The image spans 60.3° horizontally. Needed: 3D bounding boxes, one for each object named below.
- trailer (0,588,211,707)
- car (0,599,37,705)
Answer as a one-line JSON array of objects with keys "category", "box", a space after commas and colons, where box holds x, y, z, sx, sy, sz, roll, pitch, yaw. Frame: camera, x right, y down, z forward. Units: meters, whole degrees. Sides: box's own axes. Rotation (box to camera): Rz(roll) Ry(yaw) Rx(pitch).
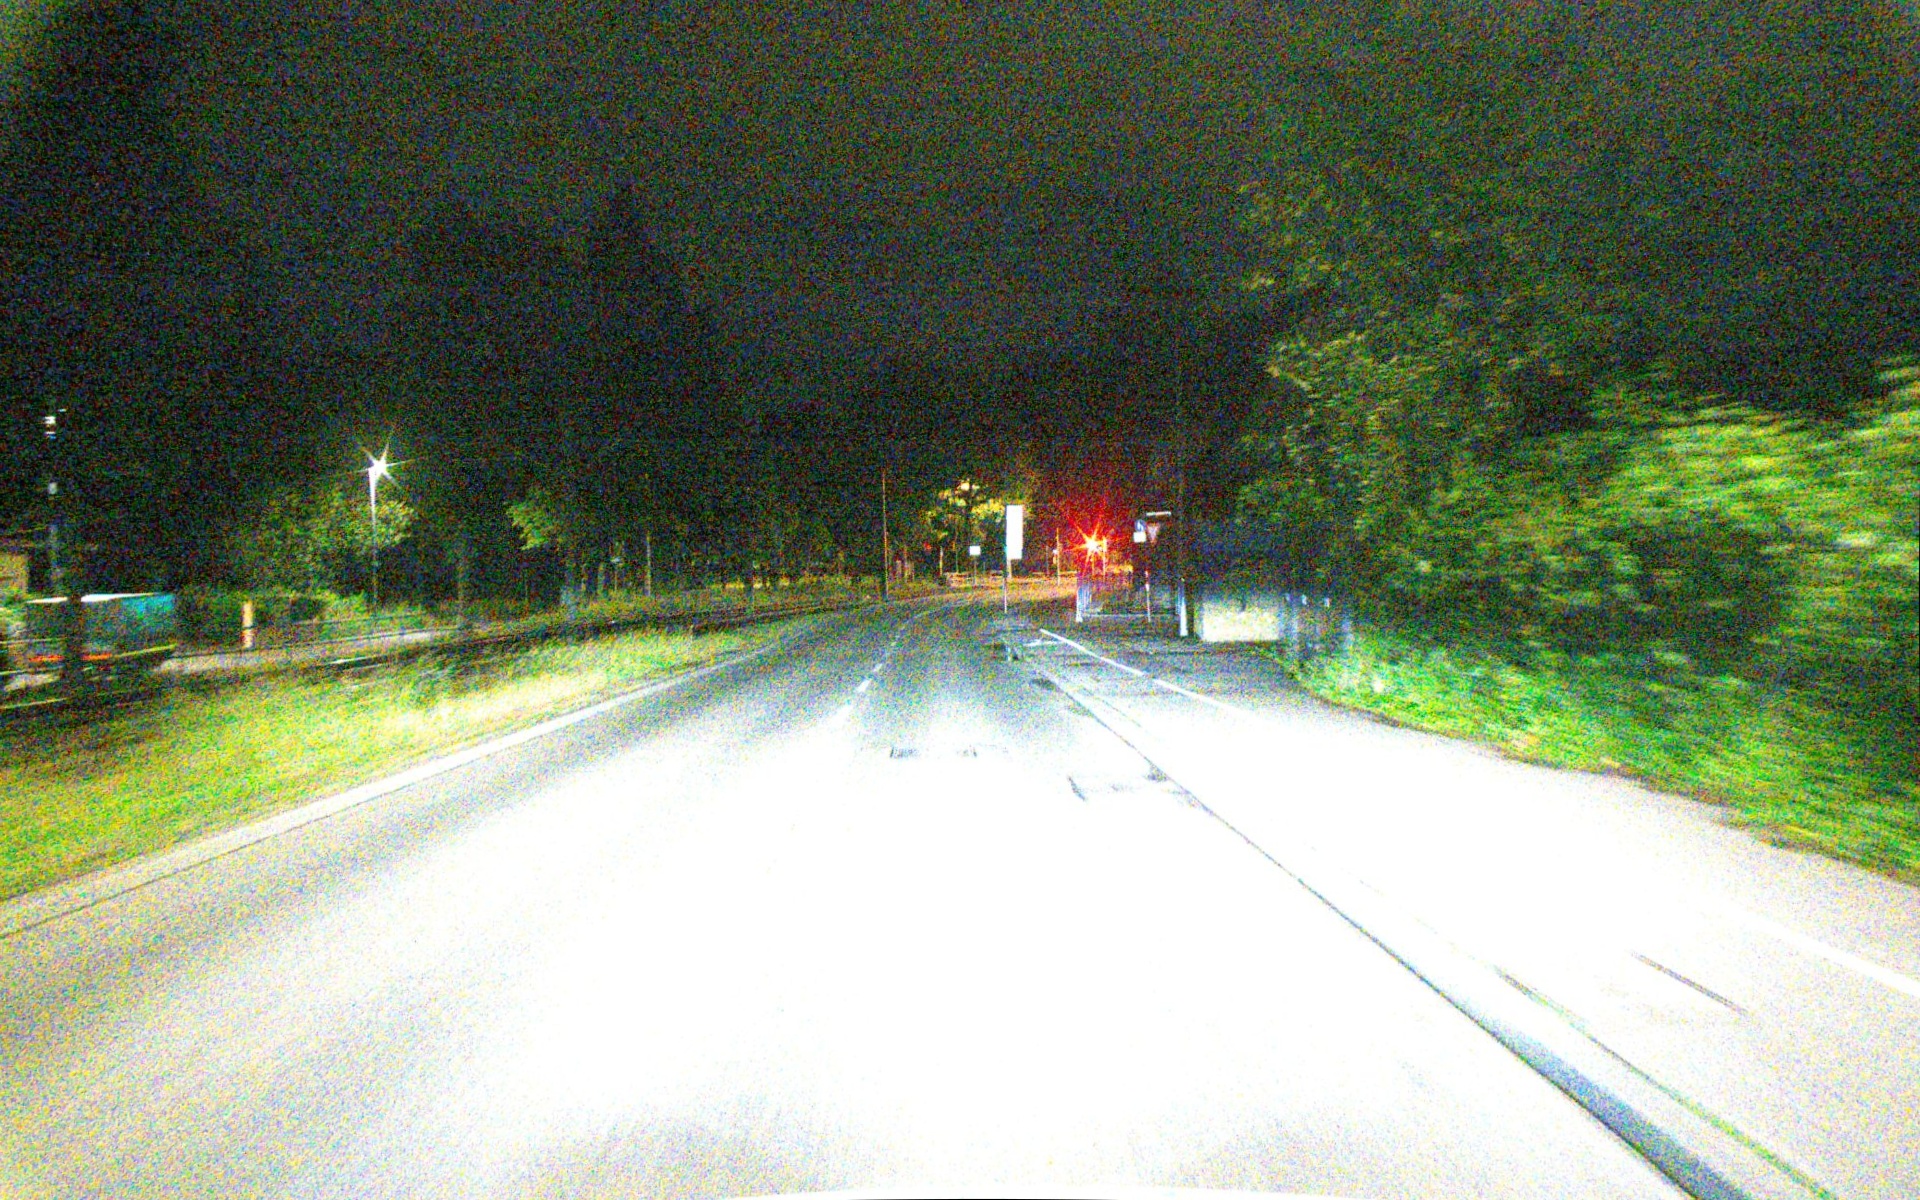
[{"category": "trailer", "box": [-15.428, 0.763, 28.904, 1.983, 1.811, 5.674, -3, 1, 0]}, {"category": "car", "box": [-15.488, 0.864, 23.798, 1.682, 1.604, 4.536, -4, 0, 1]}]
